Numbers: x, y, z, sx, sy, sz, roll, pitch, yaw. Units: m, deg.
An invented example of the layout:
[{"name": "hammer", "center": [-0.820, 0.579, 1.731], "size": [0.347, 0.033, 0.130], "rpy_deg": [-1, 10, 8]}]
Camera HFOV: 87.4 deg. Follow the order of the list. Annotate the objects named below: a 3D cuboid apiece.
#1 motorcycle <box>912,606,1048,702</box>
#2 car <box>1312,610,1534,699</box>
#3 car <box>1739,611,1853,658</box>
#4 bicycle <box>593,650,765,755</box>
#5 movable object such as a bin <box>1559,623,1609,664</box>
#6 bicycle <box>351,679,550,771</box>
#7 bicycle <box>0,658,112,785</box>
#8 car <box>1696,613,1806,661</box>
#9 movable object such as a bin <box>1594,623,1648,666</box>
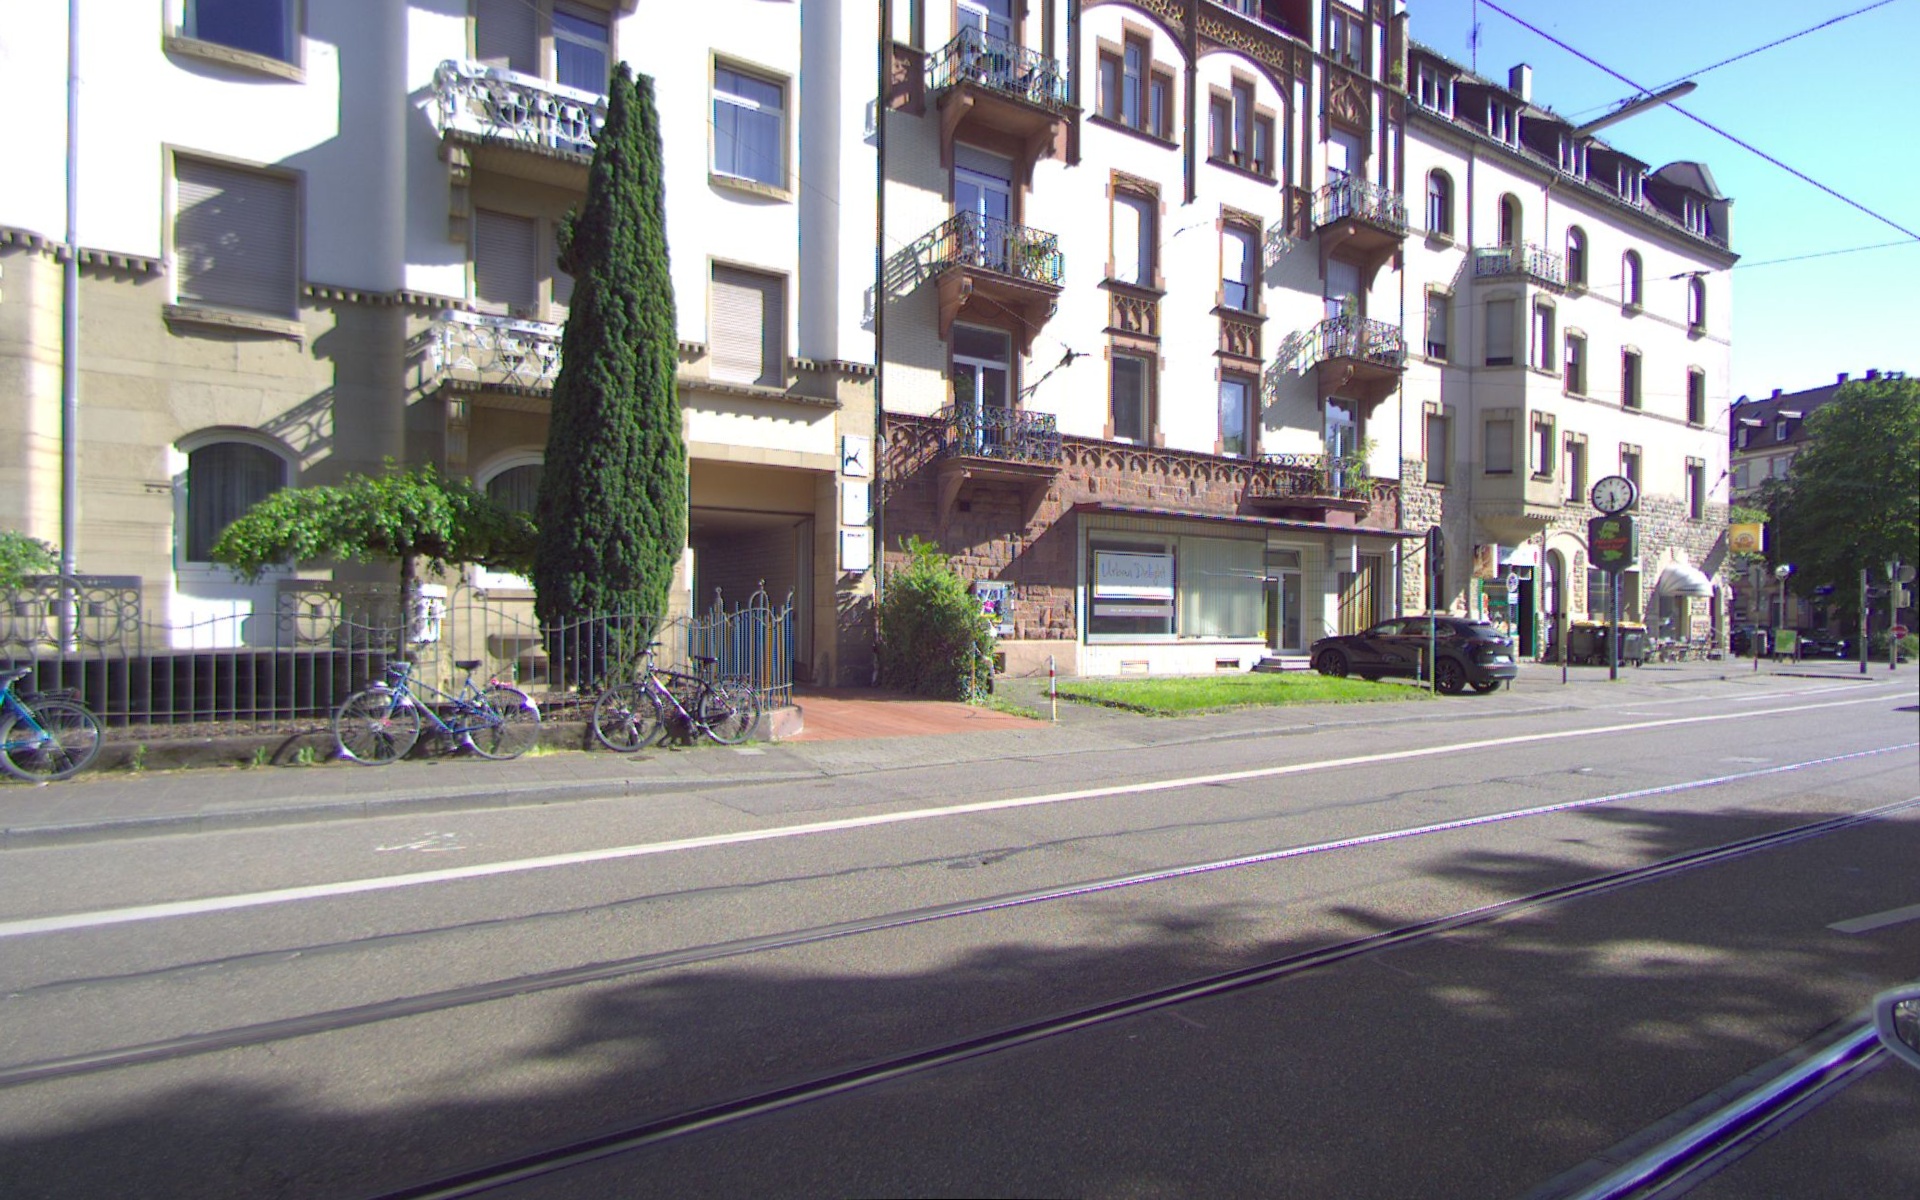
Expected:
[{"name": "motorcycle", "center": [0.270, 0.883, 17.626], "size": [0.814, 1.476, 3.067], "rpy_deg": [2, 0, -32]}, {"name": "car", "center": [9.856, 1.098, 21.651], "size": [1.755, 1.523, 3.958], "rpy_deg": [2, 1, -36]}, {"name": "car", "center": [39.309, 1.587, 47.374], "size": [1.961, 2.040, 3.999], "rpy_deg": [2, 0, -1]}, {"name": "bicycle", "center": [-3.008, 1.078, 10.844], "size": [1.728, 1.053, 0.402], "rpy_deg": [2, 0, -31]}, {"name": "movable object such as a bin", "center": [19.903, 1.390, 32.024], "size": [1.228, 1.239, 0.829], "rpy_deg": [2, 0, -28]}, {"name": "bicycle", "center": [-4.764, 1.149, 9.458], "size": [1.633, 0.772, 0.316], "rpy_deg": [2, 0, -31]}, {"name": "bicycle", "center": [-7.710, 0.936, 7.737], "size": [1.728, 0.955, 0.402], "rpy_deg": [2, 0, -31]}, {"name": "car", "center": [37.060, 1.693, 47.198], "size": [1.961, 2.040, 3.999], "rpy_deg": [2, 0, -1]}, {"name": "movable object such as a bin", "center": [20.661, 1.394, 31.400], "size": [1.128, 1.290, 0.942], "rpy_deg": [2, 0, -26]}]
